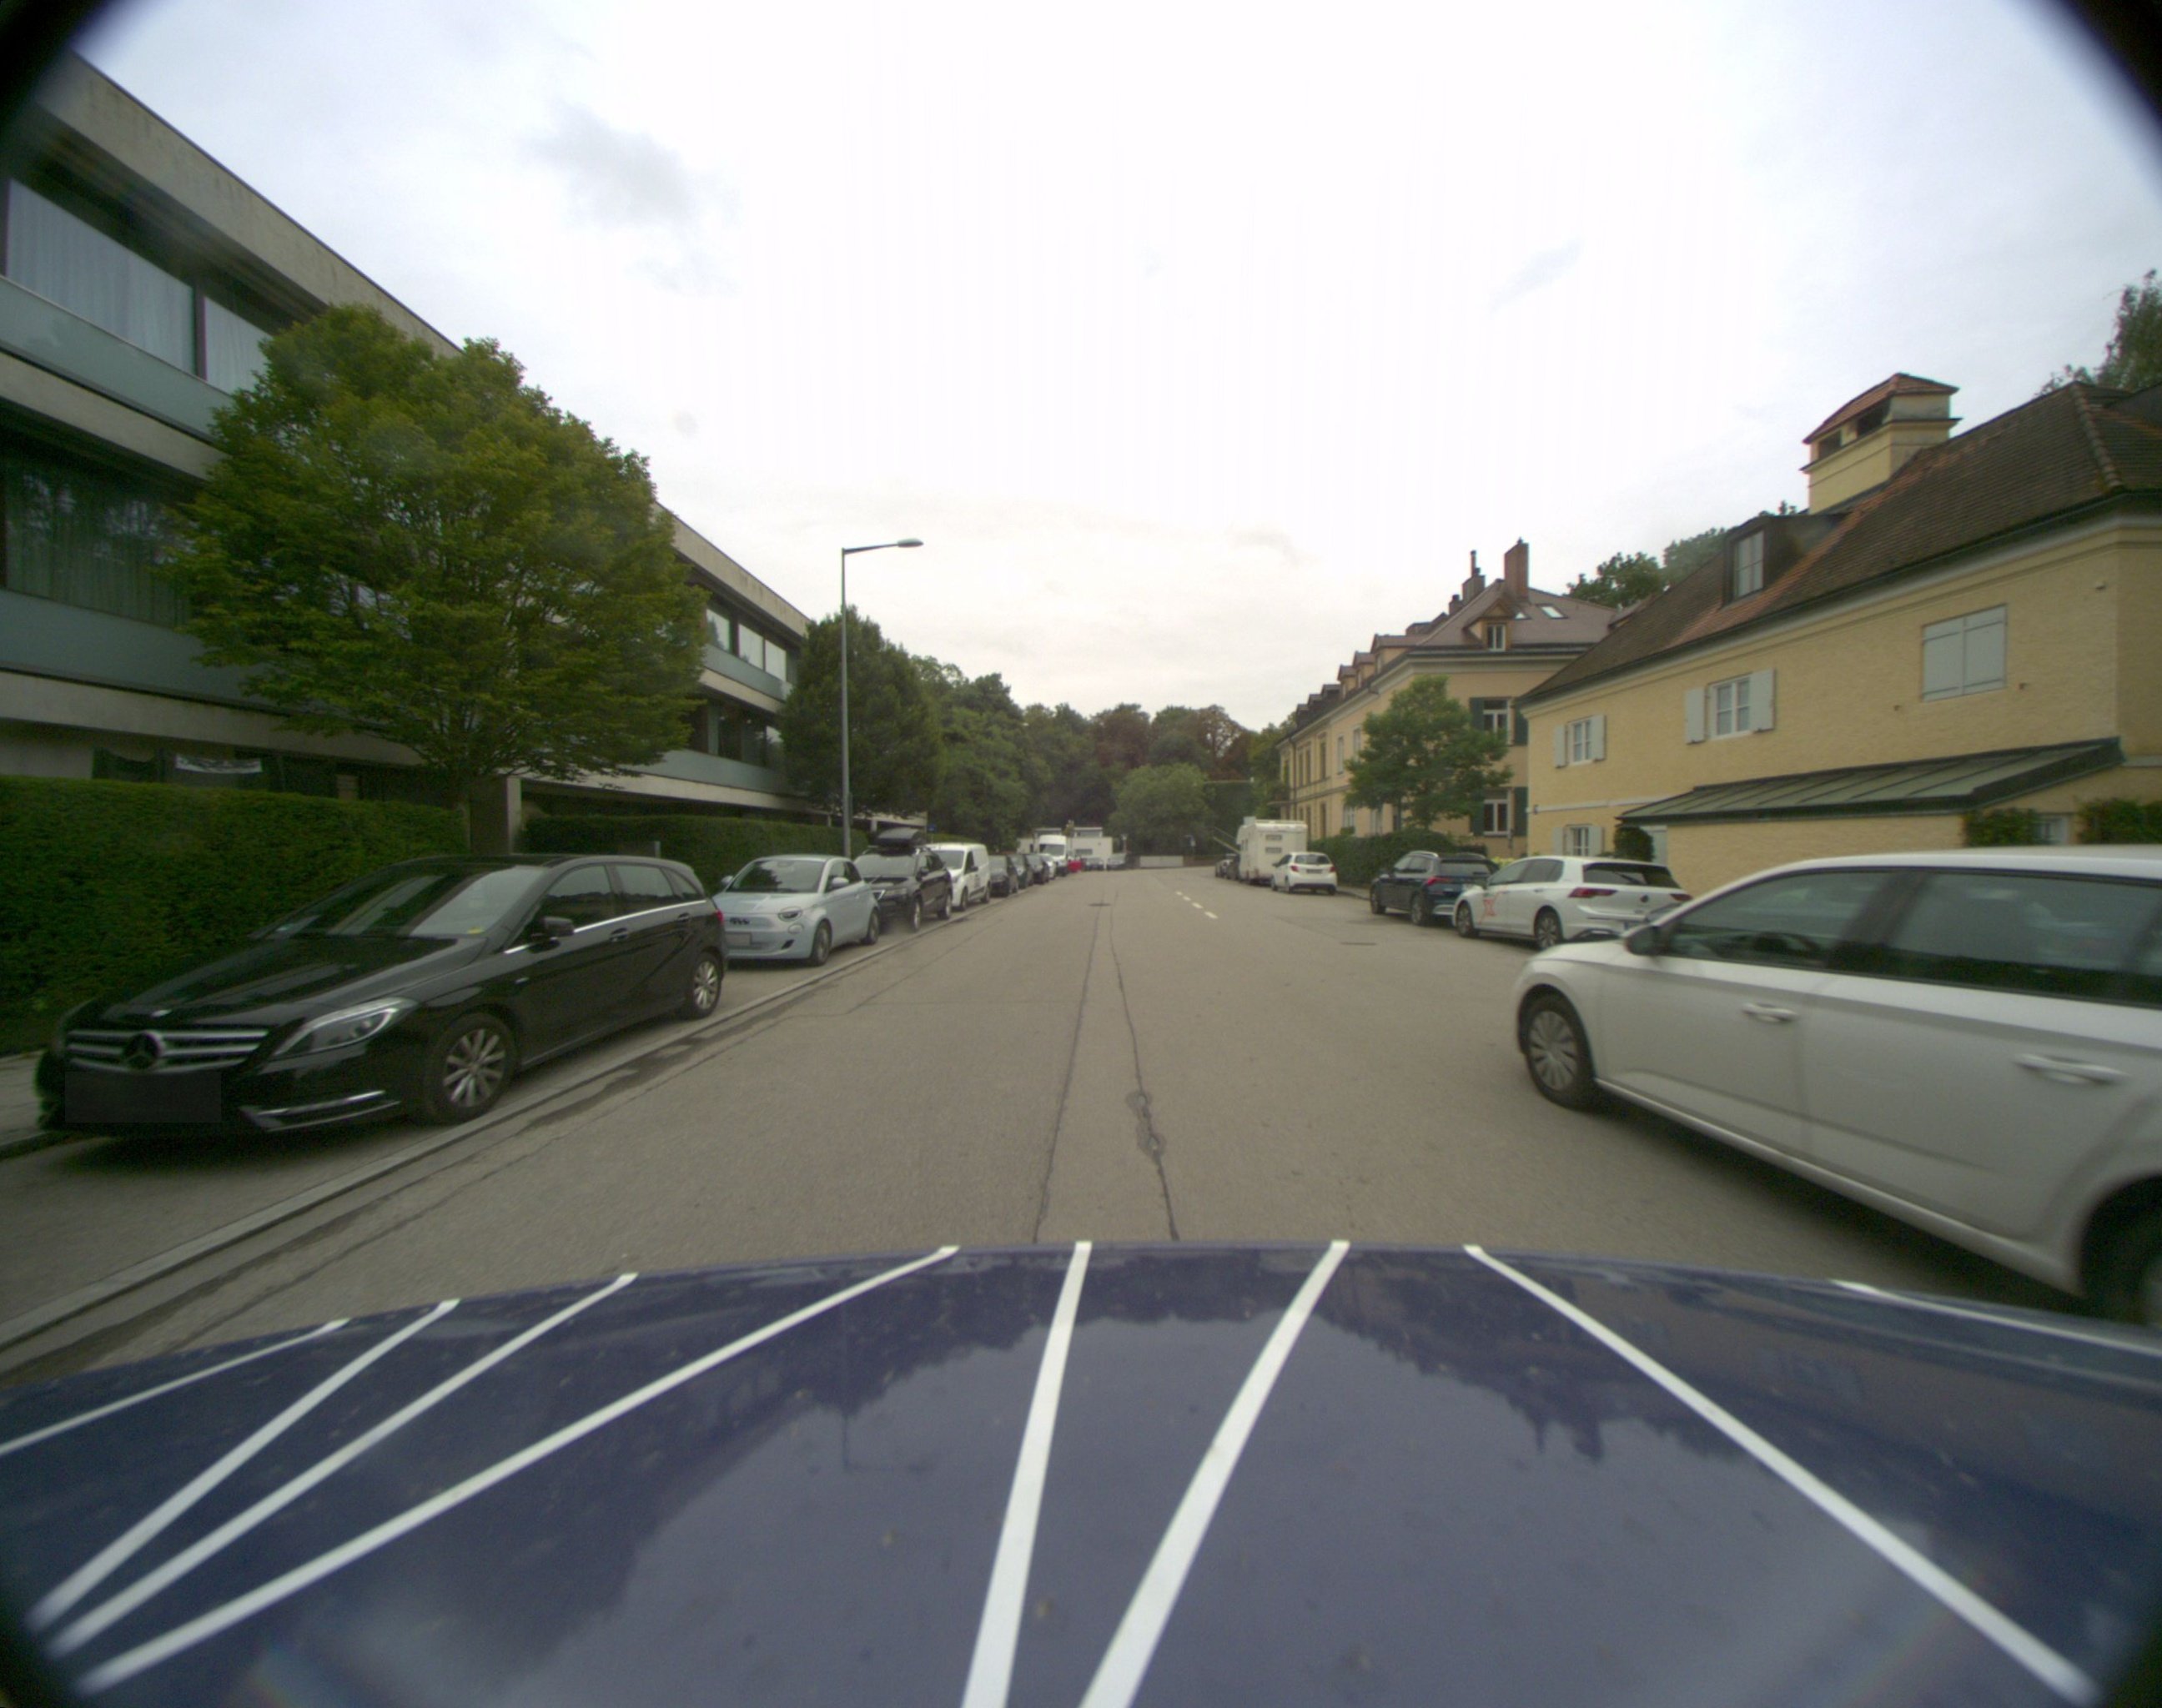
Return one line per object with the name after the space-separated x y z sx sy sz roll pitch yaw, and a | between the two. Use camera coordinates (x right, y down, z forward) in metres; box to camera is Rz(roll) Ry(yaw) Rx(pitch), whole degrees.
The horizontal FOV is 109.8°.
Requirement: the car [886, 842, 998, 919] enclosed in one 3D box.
-3.680 0.642 21.072 1.826 1.850 4.899 -2 0 4 | car

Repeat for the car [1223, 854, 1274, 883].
9.431 0.776 43.070 1.940 1.499 4.822 2 0 2 | car

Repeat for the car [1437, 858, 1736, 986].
7.553 0.885 12.030 1.849 1.526 4.522 2 0 3 | car

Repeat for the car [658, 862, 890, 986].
-4.282 0.885 11.323 1.752 1.472 3.888 0 0 2 | car

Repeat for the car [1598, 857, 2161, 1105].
7.303 0.842 7.116 1.849 1.526 4.562 2 0 2 | car

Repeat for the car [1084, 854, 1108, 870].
1.377 0.814 73.229 1.897 1.438 4.268 -3 -1 -4 | car

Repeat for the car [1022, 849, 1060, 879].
-2.259 0.585 43.909 1.875 1.560 5.001 2 0 0 | car

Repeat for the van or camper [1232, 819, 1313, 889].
8.916 -0.012 36.095 2.460 2.923 7.213 1 0 4 | van or camper

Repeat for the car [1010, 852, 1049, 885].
-2.475 0.675 37.704 1.284 1.497 5.208 2 0 3 | car

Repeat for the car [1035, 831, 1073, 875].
-1.734 -0.042 50.594 2.084 2.670 6.089 2 0 1 | car

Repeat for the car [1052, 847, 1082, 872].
-1.116 0.451 62.046 1.939 1.893 5.073 2 0 4 | car

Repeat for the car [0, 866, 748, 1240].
-4.348 0.910 5.597 1.752 1.530 4.569 -1 0 0 | car

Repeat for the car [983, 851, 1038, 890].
-2.933 0.648 32.270 1.731 1.520 4.205 1 0 3 | car

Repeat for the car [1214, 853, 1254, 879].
9.787 0.754 48.933 1.940 1.526 4.532 2 0 4 | car

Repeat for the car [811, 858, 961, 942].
-3.863 0.843 15.924 1.752 1.472 4.598 -1 0 3 | car

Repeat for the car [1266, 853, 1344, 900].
8.181 0.772 28.098 1.782 1.526 4.228 2 0 3 | car

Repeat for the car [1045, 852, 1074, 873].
-1.585 0.617 56.829 1.875 1.498 4.838 2 0 1 | car

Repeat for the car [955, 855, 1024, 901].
-3.149 0.785 26.934 1.752 1.455 4.243 0 0 3 | car

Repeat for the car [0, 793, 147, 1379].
-4.452 0.796 0.224 1.993 1.860 5.076 -1 1 0 | car

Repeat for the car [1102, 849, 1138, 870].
3.575 0.553 68.898 1.996 1.682 4.342 -3 -3 19 | car

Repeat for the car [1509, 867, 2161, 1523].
3.443 0.833 2.507 1.776 1.466 4.133 0 1 1 | car

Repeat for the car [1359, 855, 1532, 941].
7.816 0.842 16.844 1.849 1.526 4.441 2 1 3 | car
